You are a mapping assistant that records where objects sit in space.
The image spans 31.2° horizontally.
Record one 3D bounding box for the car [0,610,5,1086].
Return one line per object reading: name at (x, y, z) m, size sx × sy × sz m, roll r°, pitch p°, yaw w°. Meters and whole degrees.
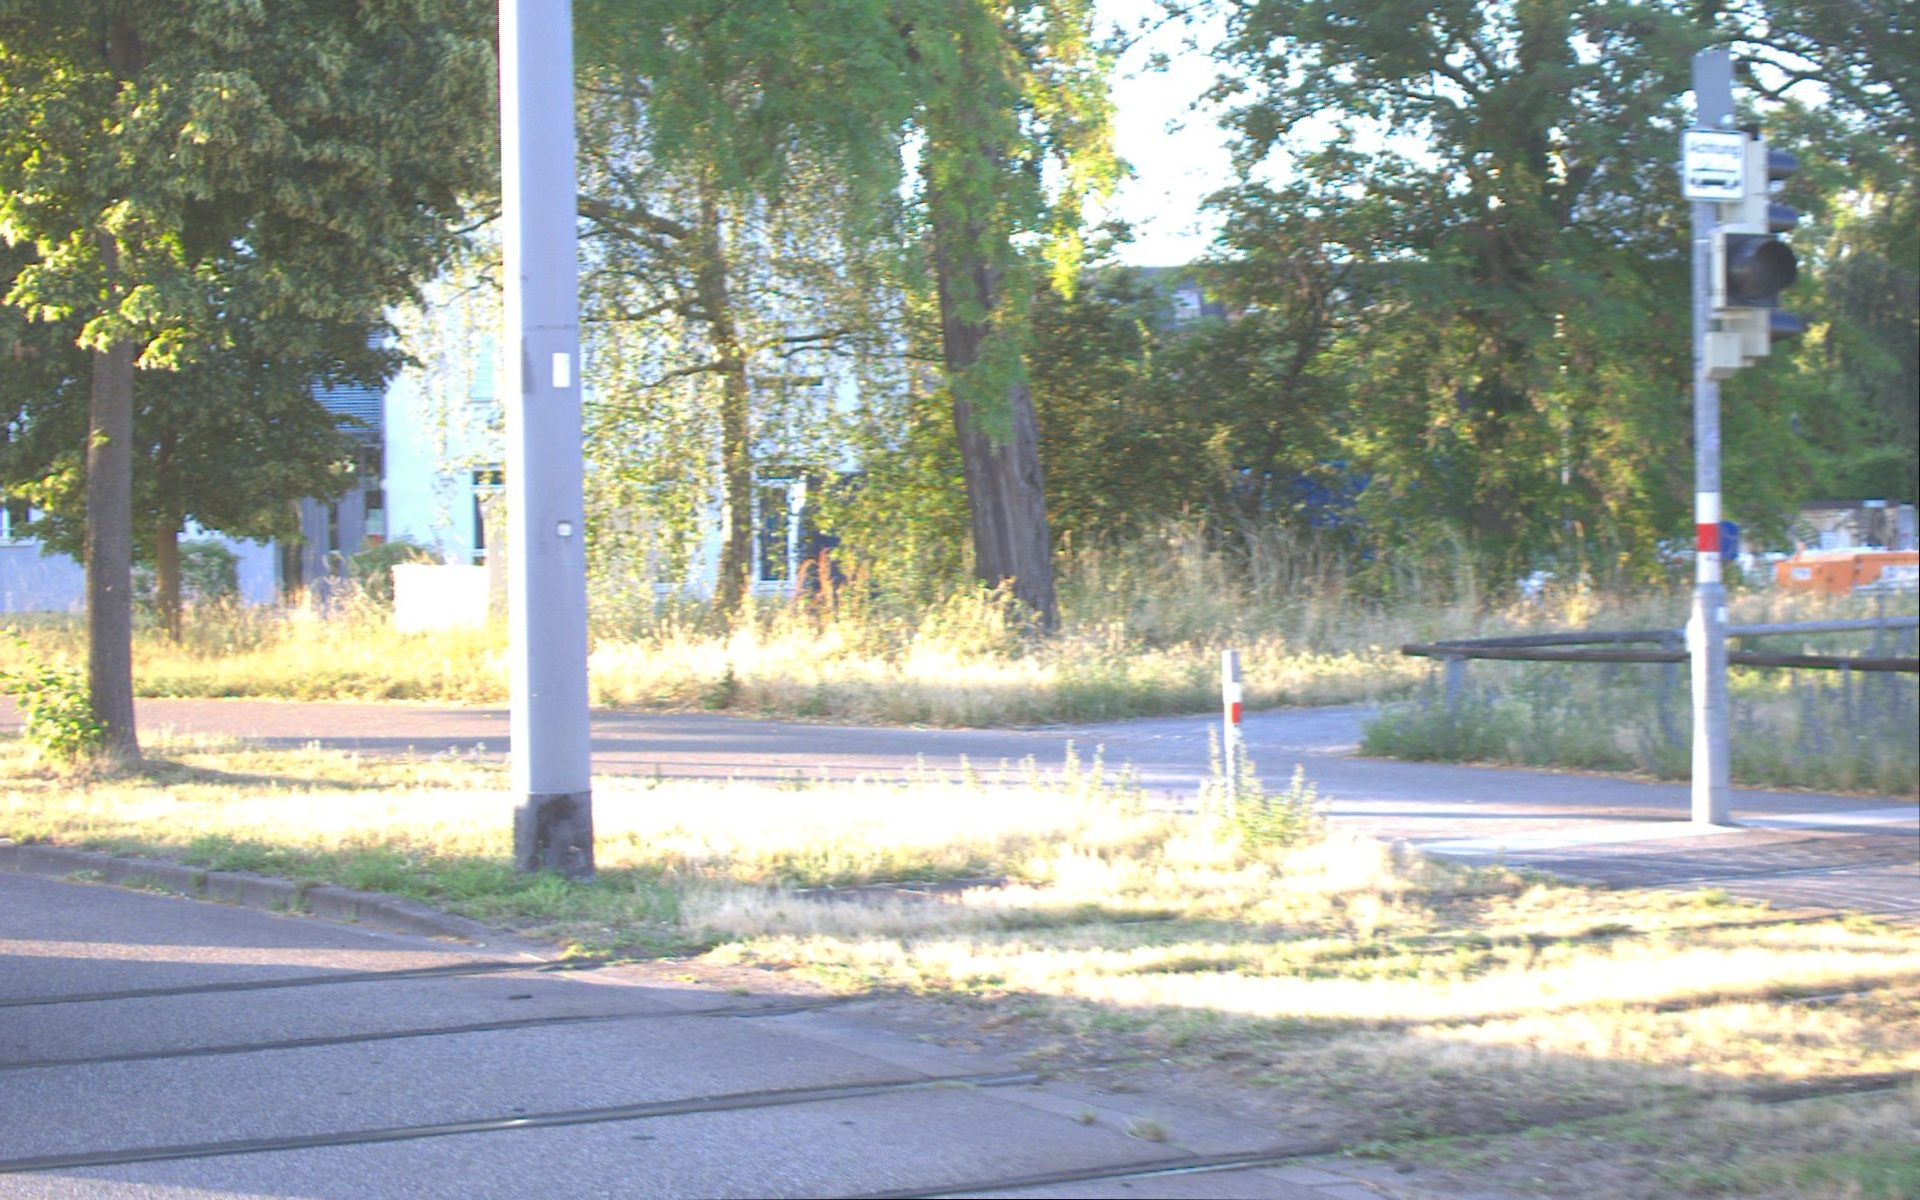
car at (-4.697, 0.679, 11.204) m, size 1.951 × 1.337 × 4.671 m, roll -1°, pitch 1°, yaw -30°
